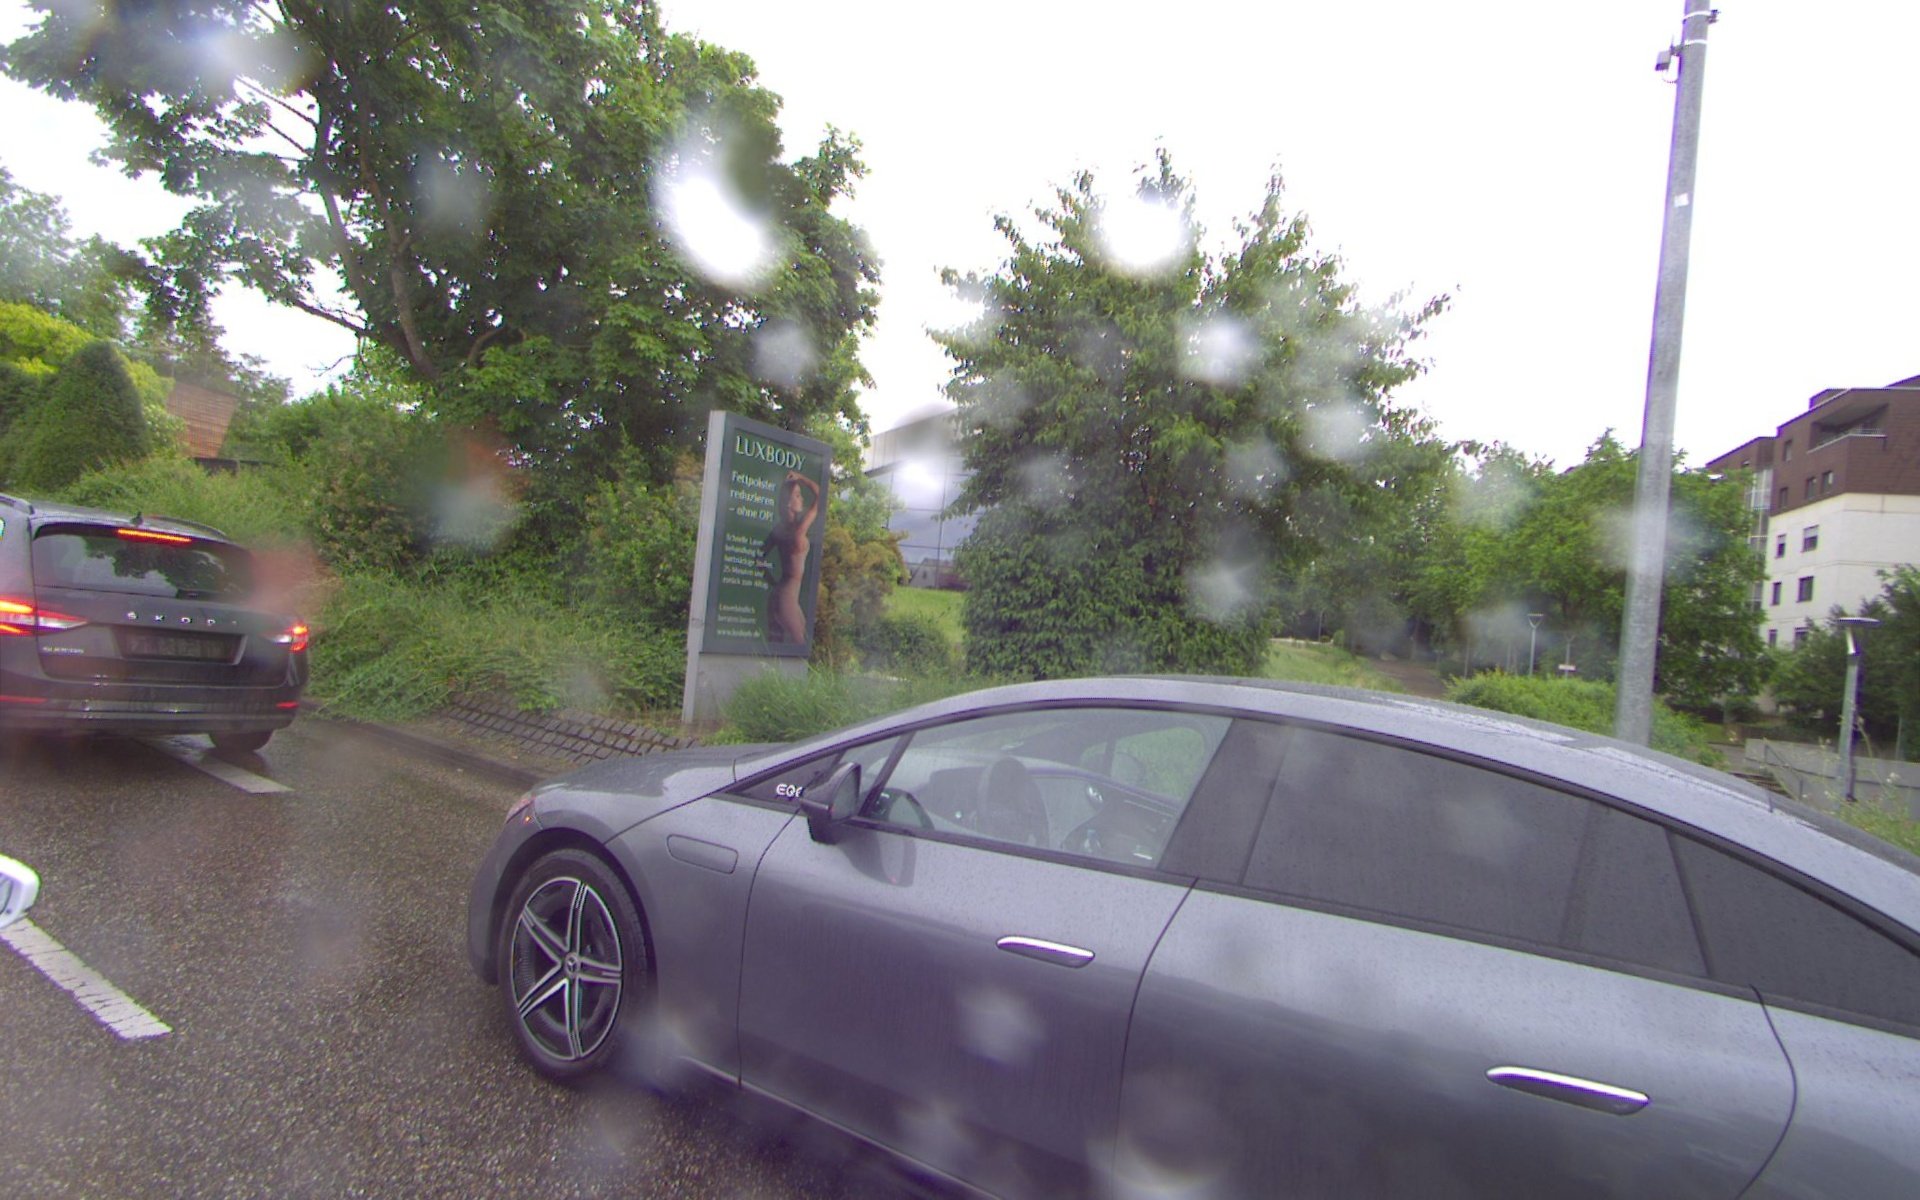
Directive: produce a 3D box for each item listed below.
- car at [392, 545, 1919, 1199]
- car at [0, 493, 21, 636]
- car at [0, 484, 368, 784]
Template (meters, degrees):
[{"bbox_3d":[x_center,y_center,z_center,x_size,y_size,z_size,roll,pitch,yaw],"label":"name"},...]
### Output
[{"bbox_3d":[0.664,0.906,2.939,4.727,1.483,1.842,7,-2,31],"label":"car"},{"bbox_3d":[-12.207,-0.677,10.893,4.048,1.483,1.842,7,-2,31],"label":"car"},{"bbox_3d":[-6.115,0.037,6.775,4.279,1.483,1.841,7,-2,33],"label":"car"}]
